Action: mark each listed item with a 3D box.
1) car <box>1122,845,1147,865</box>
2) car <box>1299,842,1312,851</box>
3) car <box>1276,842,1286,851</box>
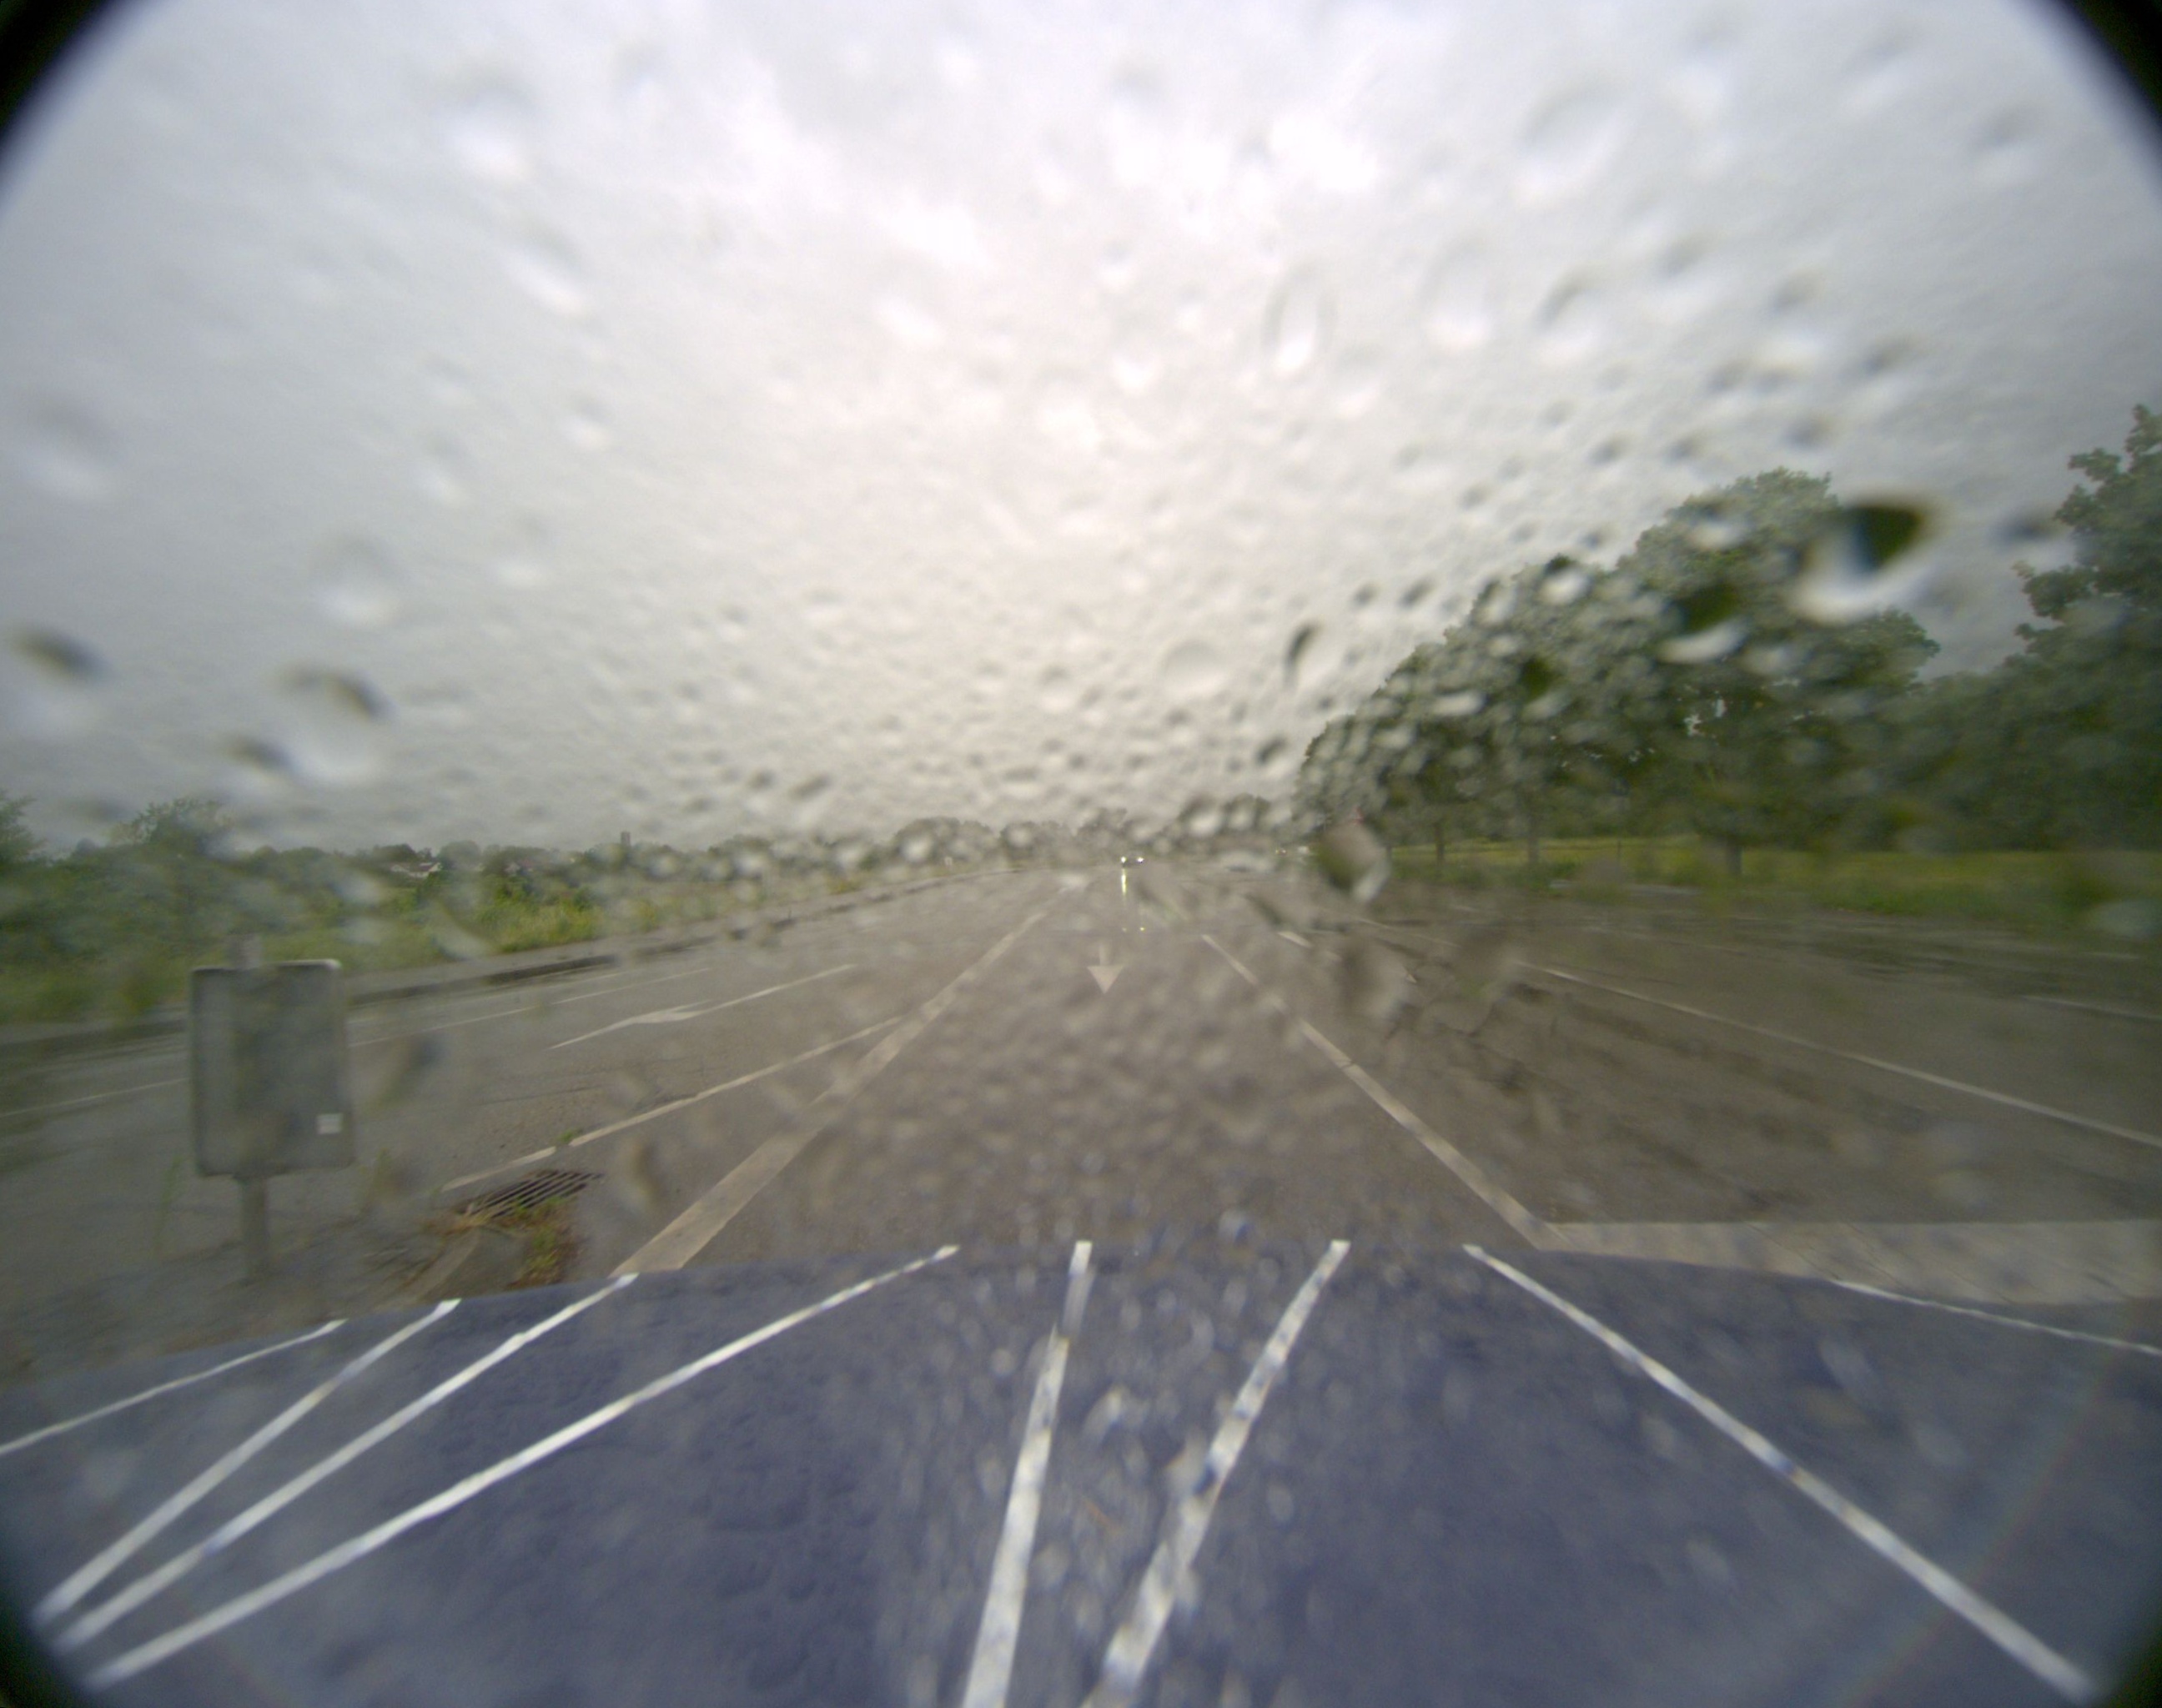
[{"bbox_3d":[4.701,0.048,65.983,1.915,1.576,4.104,-2,1,7],"label":"car"},{"bbox_3d":[48.745,-1.630,165.245,2.108,1.881,4.798,-2,1,23],"label":"car"},{"bbox_3d":[43.995,-1.637,166.847,1.914,1.678,4.107,-1,1,17],"label":"car"}]
